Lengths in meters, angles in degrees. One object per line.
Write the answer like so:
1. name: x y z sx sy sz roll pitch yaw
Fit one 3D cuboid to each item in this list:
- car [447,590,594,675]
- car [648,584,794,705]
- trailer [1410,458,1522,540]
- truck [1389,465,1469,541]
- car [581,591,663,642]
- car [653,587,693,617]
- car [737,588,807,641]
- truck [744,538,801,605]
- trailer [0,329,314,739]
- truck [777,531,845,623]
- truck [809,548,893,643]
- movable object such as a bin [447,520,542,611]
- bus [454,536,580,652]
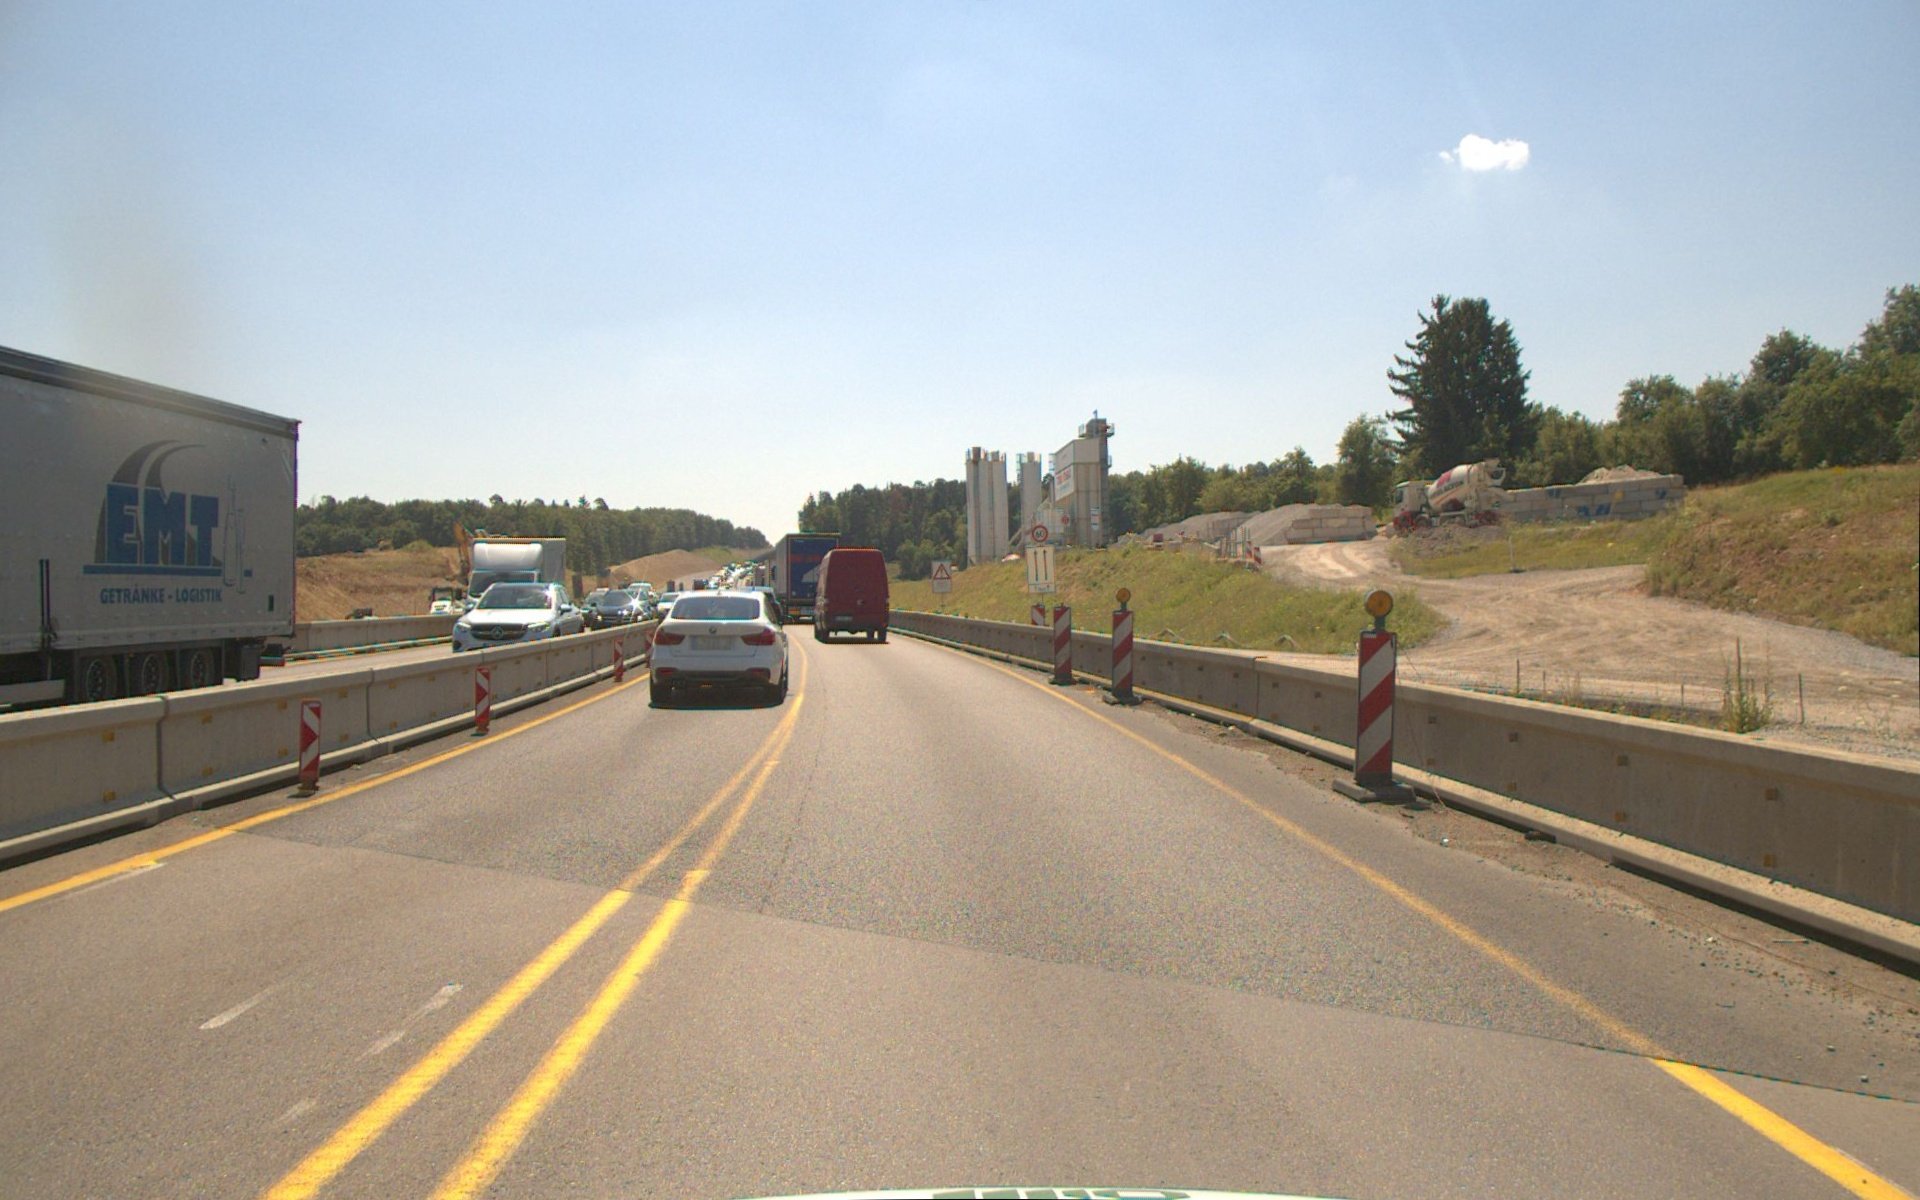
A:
1. car: -8.511 0.573 32.430 1.760 1.501 4.775 -1 0 -2
2. car: -3.343 0.566 23.926 1.760 1.561 5.068 0 0 -5
3. trailer: 28.121 -5.555 92.252 2.712 4.186 6.715 -1 0 -16
4. truck: 27.107 -5.569 95.739 2.701 4.167 4.081 -1 0 -17
5. car: -10.196 0.454 50.123 1.772 1.439 4.396 -1 0 -3
6. car: -14.607 0.085 84.287 1.781 1.481 4.627 -1 0 -7
7. car: -5.858 0.417 51.901 1.758 1.561 3.930 -1 0 -1
8. truck: -14.083 -2.117 125.187 3.610 4.773 9.747 -1 0 -3
9. trailer: -11.141 -0.663 18.039 2.703 4.186 13.976 -1 0 0
10. truck: -7.353 -1.107 80.747 2.958 4.225 8.259 -1 0 -7
11. truck: -3.418 -0.135 50.551 2.072 2.679 6.472 -1 0 -8
12. movable object such as a bin: -41.117 -3.028 146.359 7.491 7.848 3.441 -1 0 -7
13. bus: -13.049 -0.191 49.267 2.303 3.180 7.222 -1 0 -5
